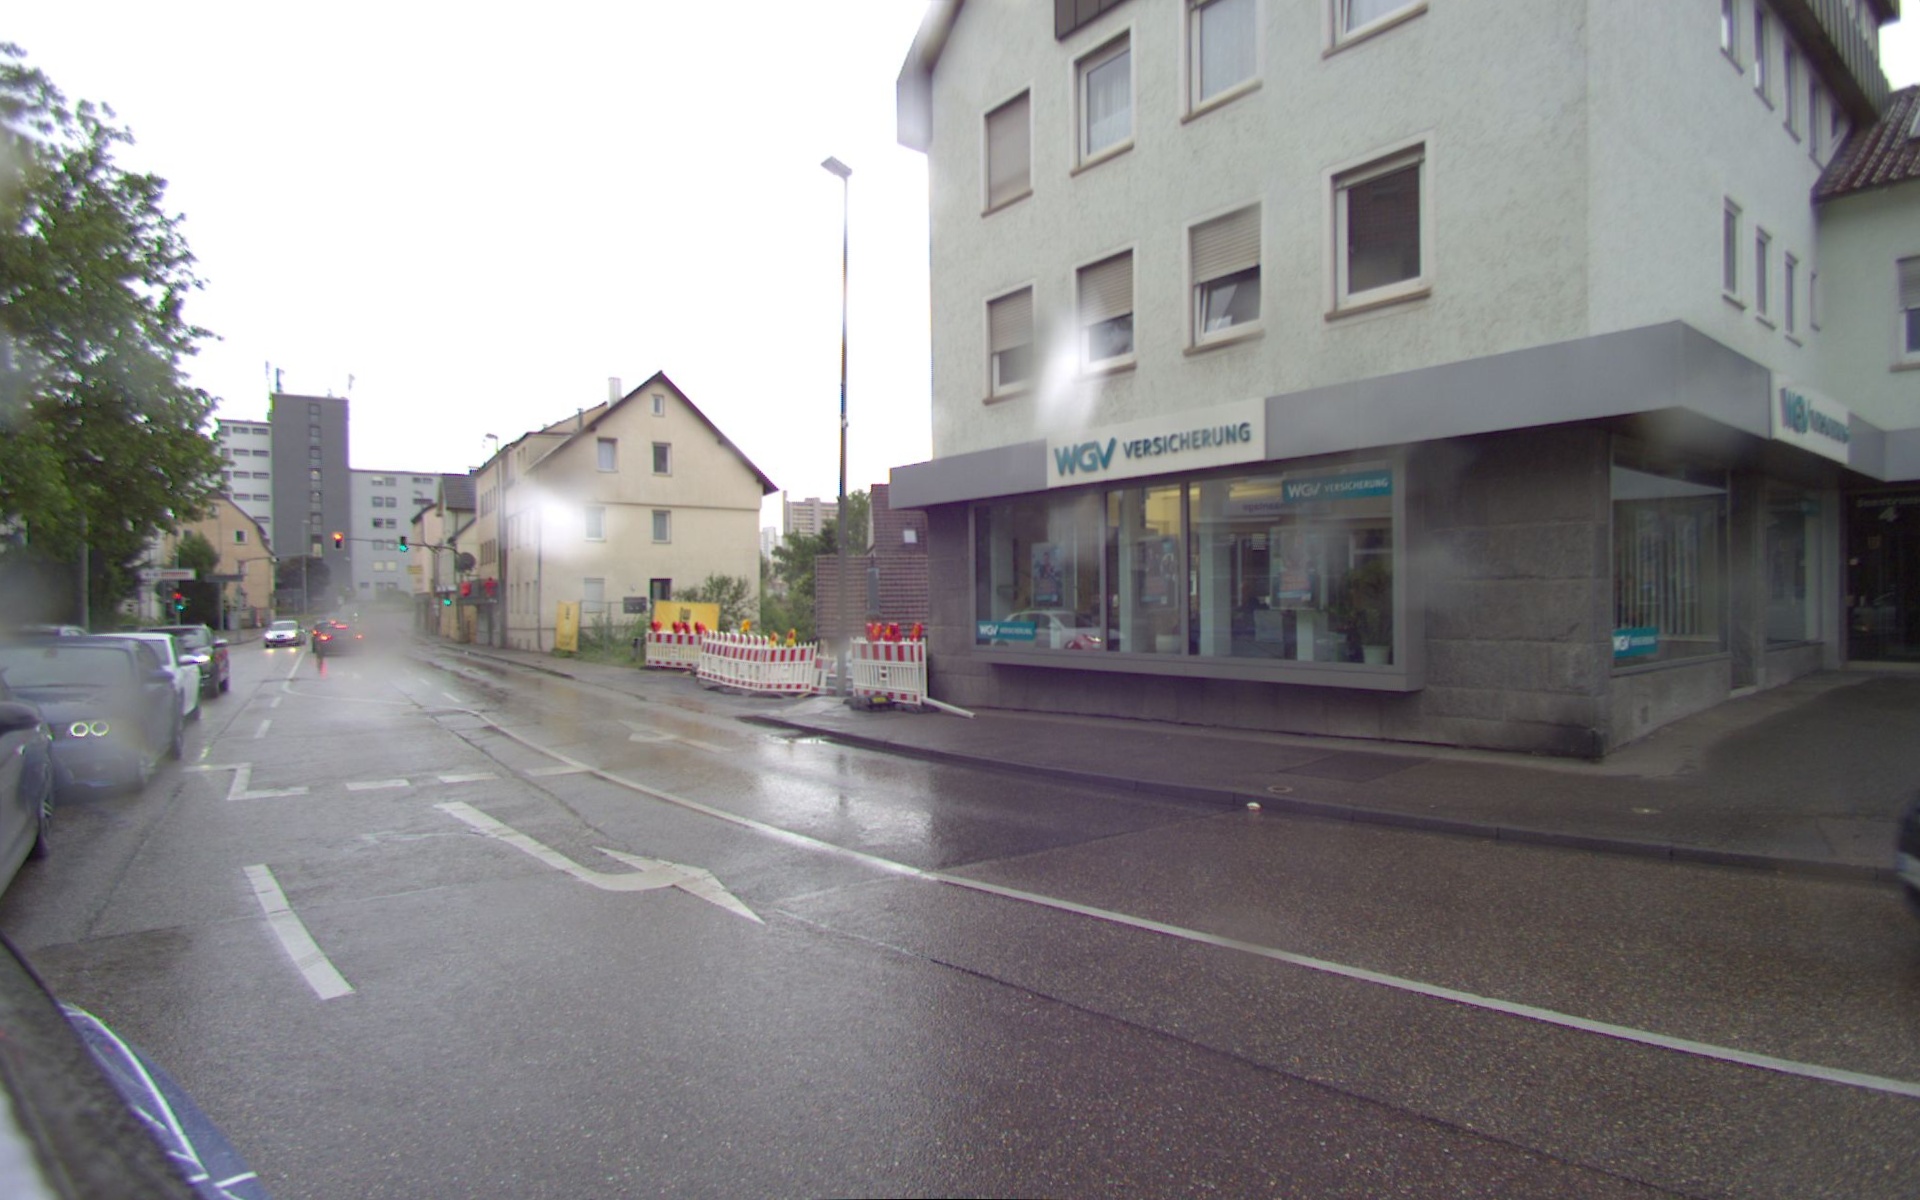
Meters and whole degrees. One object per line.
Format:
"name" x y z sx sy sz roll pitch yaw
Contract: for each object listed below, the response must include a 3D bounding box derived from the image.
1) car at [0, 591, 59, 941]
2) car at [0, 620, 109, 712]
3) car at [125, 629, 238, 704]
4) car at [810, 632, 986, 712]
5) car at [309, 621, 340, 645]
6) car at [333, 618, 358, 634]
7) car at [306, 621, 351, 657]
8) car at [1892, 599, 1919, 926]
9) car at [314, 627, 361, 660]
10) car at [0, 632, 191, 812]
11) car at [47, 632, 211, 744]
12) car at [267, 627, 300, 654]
"car" -5.629 0.793 4.753 1.792 1.583 4.284 -1 -1 -38
"car" -20.088 1.361 21.761 1.904 1.794 4.748 0 -2 -30
"car" -17.449 1.430 22.840 1.659 1.472 4.011 -1 -1 -33
"car" -1.277 1.597 21.817 3.456 1.401 1.653 10 -9 -41
"car" -51.180 2.633 81.441 1.765 1.866 3.844 -1 -1 -37
"car" -61.973 2.586 102.035 1.763 1.577 3.848 -1 -1 -26
"car" -32.025 1.969 51.260 1.791 1.657 4.287 -1 -1 -34
"car" 6.061 0.692 3.160 4.251 1.522 1.722 -2 -2 27
"car" -28.278 1.933 45.955 1.684 1.394 3.679 -1 -1 -33
"car" -8.720 1.046 9.873 1.615 1.443 3.816 1 -2 -33
"car" -12.723 1.241 15.699 1.660 1.432 4.010 -1 -1 -35
"car" -41.277 2.430 61.789 1.589 1.515 3.728 -2 0 -32
